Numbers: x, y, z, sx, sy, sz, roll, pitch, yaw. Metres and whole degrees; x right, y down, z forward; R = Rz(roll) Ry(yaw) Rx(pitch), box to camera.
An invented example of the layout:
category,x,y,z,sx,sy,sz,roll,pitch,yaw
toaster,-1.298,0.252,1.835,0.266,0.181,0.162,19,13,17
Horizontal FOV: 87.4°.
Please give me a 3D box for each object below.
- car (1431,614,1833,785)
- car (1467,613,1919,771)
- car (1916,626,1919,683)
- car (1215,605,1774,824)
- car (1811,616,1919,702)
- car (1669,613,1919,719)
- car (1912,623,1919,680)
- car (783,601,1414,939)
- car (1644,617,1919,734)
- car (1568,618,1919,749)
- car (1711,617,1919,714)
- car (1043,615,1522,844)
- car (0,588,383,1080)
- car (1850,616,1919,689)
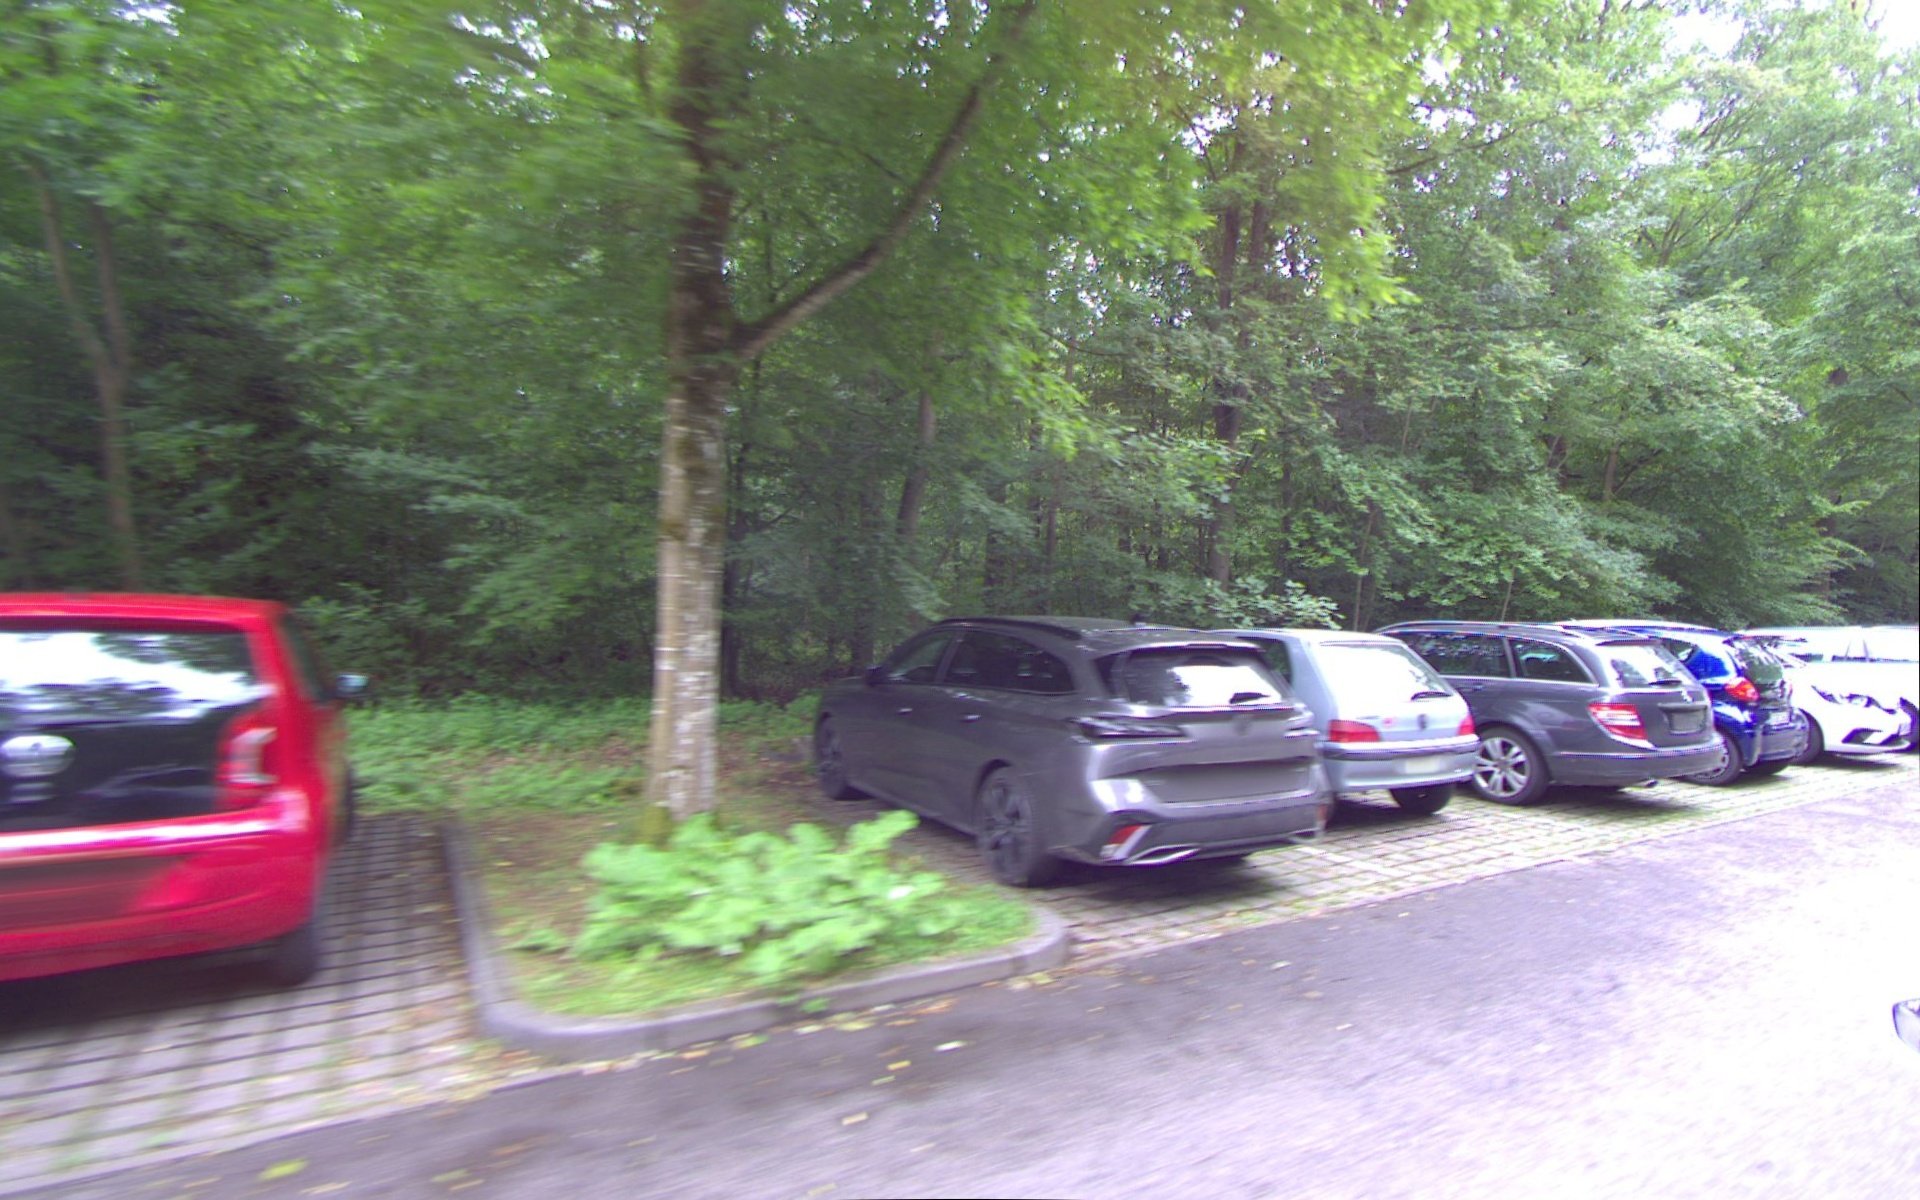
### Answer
category,x,y,z,sx,sy,sz,roll,pitch,yaw
car,7.033,0.920,10.766,1.663,1.463,3.198,1,0,-34
car,8.858,0.968,12.338,1.873,1.506,4.336,2,-1,-36
car,25.259,1.383,23.464,1.769,1.382,3.960,1,0,-35
car,4.682,0.841,9.495,2.033,1.506,4.246,1,0,-30
car,19.022,1.149,19.093,1.901,1.575,4.006,1,0,-35
car,14.688,1.047,16.550,1.921,1.506,4.533,1,0,-35
car,26.927,1.394,25.283,1.779,1.484,4.000,1,0,-33
car,0.497,0.769,6.823,2.011,1.443,4.384,1,0,-29
car,13.123,1.060,14.945,1.850,1.506,4.535,1,0,-33
car,11.180,1.028,13.677,2.066,1.466,4.529,1,0,-37
car,16.476,1.150,18.276,1.832,1.571,4.201,1,0,-39
car,2.457,0.880,8.573,1.734,1.405,3.741,1,0,-28
car,-3.682,0.726,4.624,1.663,1.501,3.450,1,-1,-29
car,22.898,1.212,22.216,1.907,1.605,4.486,1,0,-35
